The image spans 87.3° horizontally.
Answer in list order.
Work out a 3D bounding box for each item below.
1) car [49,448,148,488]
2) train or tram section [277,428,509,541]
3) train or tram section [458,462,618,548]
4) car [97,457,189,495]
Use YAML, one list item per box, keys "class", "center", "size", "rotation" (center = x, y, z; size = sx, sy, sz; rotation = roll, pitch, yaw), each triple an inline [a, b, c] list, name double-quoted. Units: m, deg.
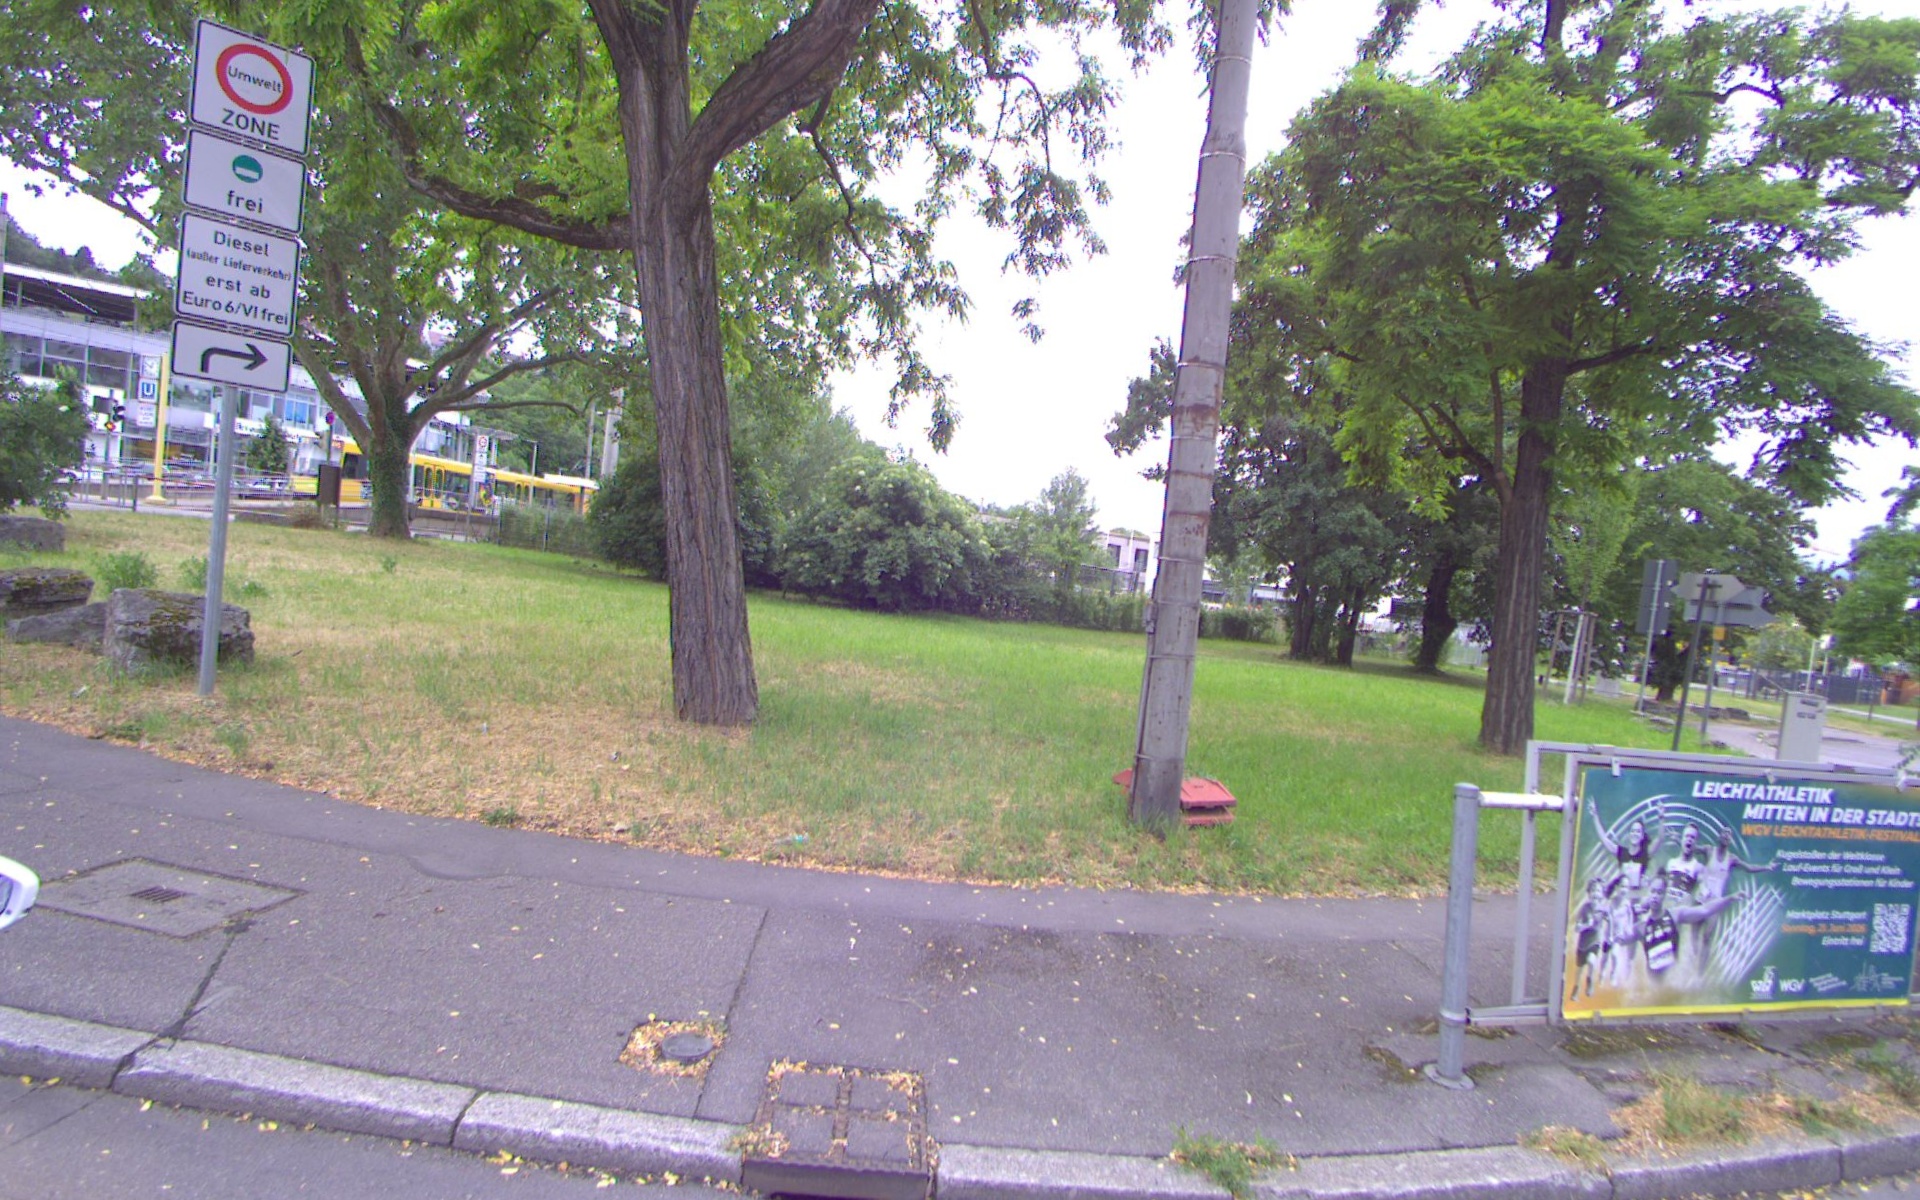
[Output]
- class: "car"
  center: [-48.425, -7.401, 56.595]
  size: [3.924, 1.575, 1.926]
  rotation: [7, 3, 5]
- class: "train or tram section"
  center: [-26.790, -5.255, 48.689]
  size: [2.697, 4.019, 11.904]
  rotation: [7, 2, 9]
- class: "train or tram section"
  center: [-24.942, -5.465, 60.471]
  size: [2.697, 4.019, 11.904]
  rotation: [7, 2, 9]
- class: "car"
  center: [-48.138, -7.302, 59.324]
  size: [3.924, 1.575, 1.926]
  rotation: [7, 3, 5]
